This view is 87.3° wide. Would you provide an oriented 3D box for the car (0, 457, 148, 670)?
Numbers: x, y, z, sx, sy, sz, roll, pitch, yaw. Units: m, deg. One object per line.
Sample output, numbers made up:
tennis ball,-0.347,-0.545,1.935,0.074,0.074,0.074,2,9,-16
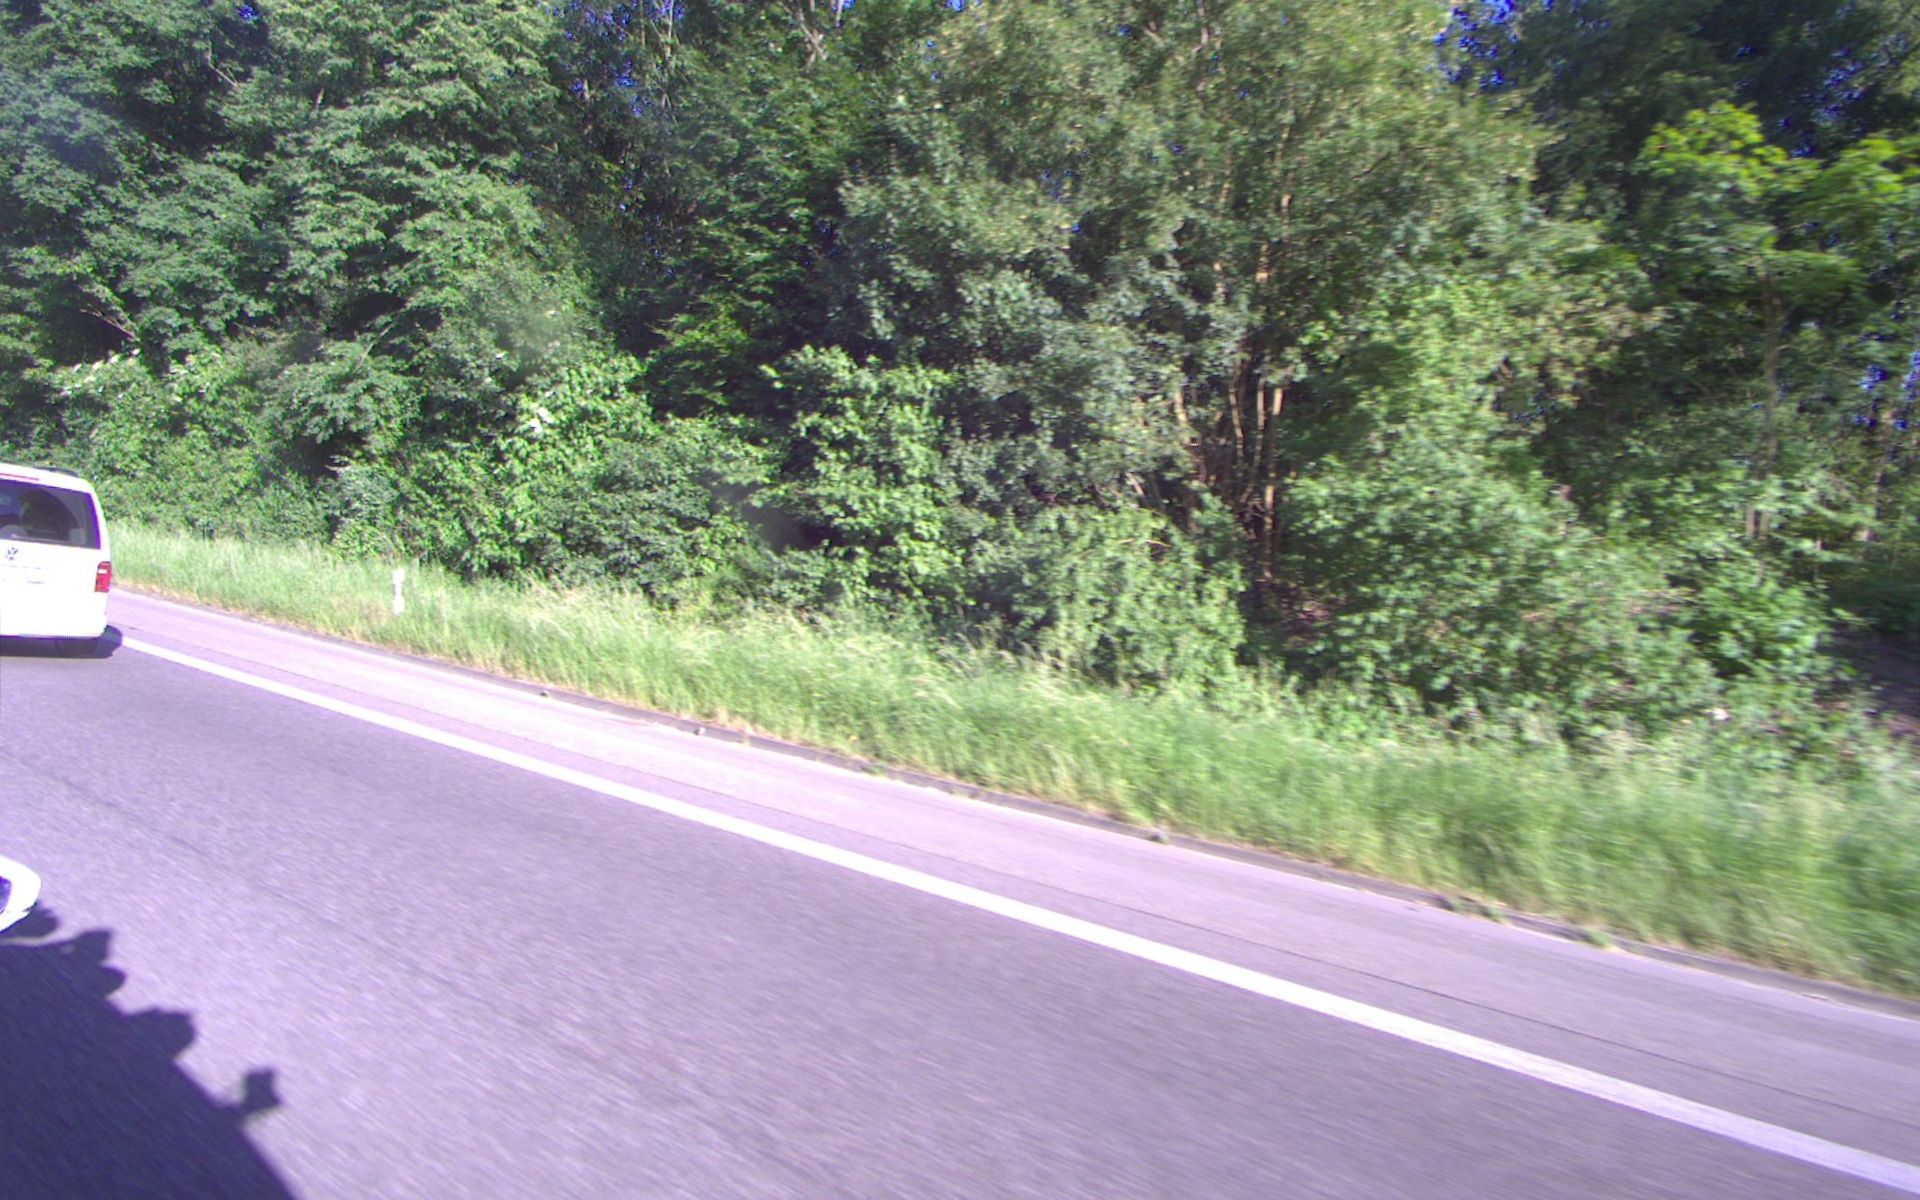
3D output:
car,-10.313,-0.524,10.102,4.511,1.834,1.802,6,-2,31
